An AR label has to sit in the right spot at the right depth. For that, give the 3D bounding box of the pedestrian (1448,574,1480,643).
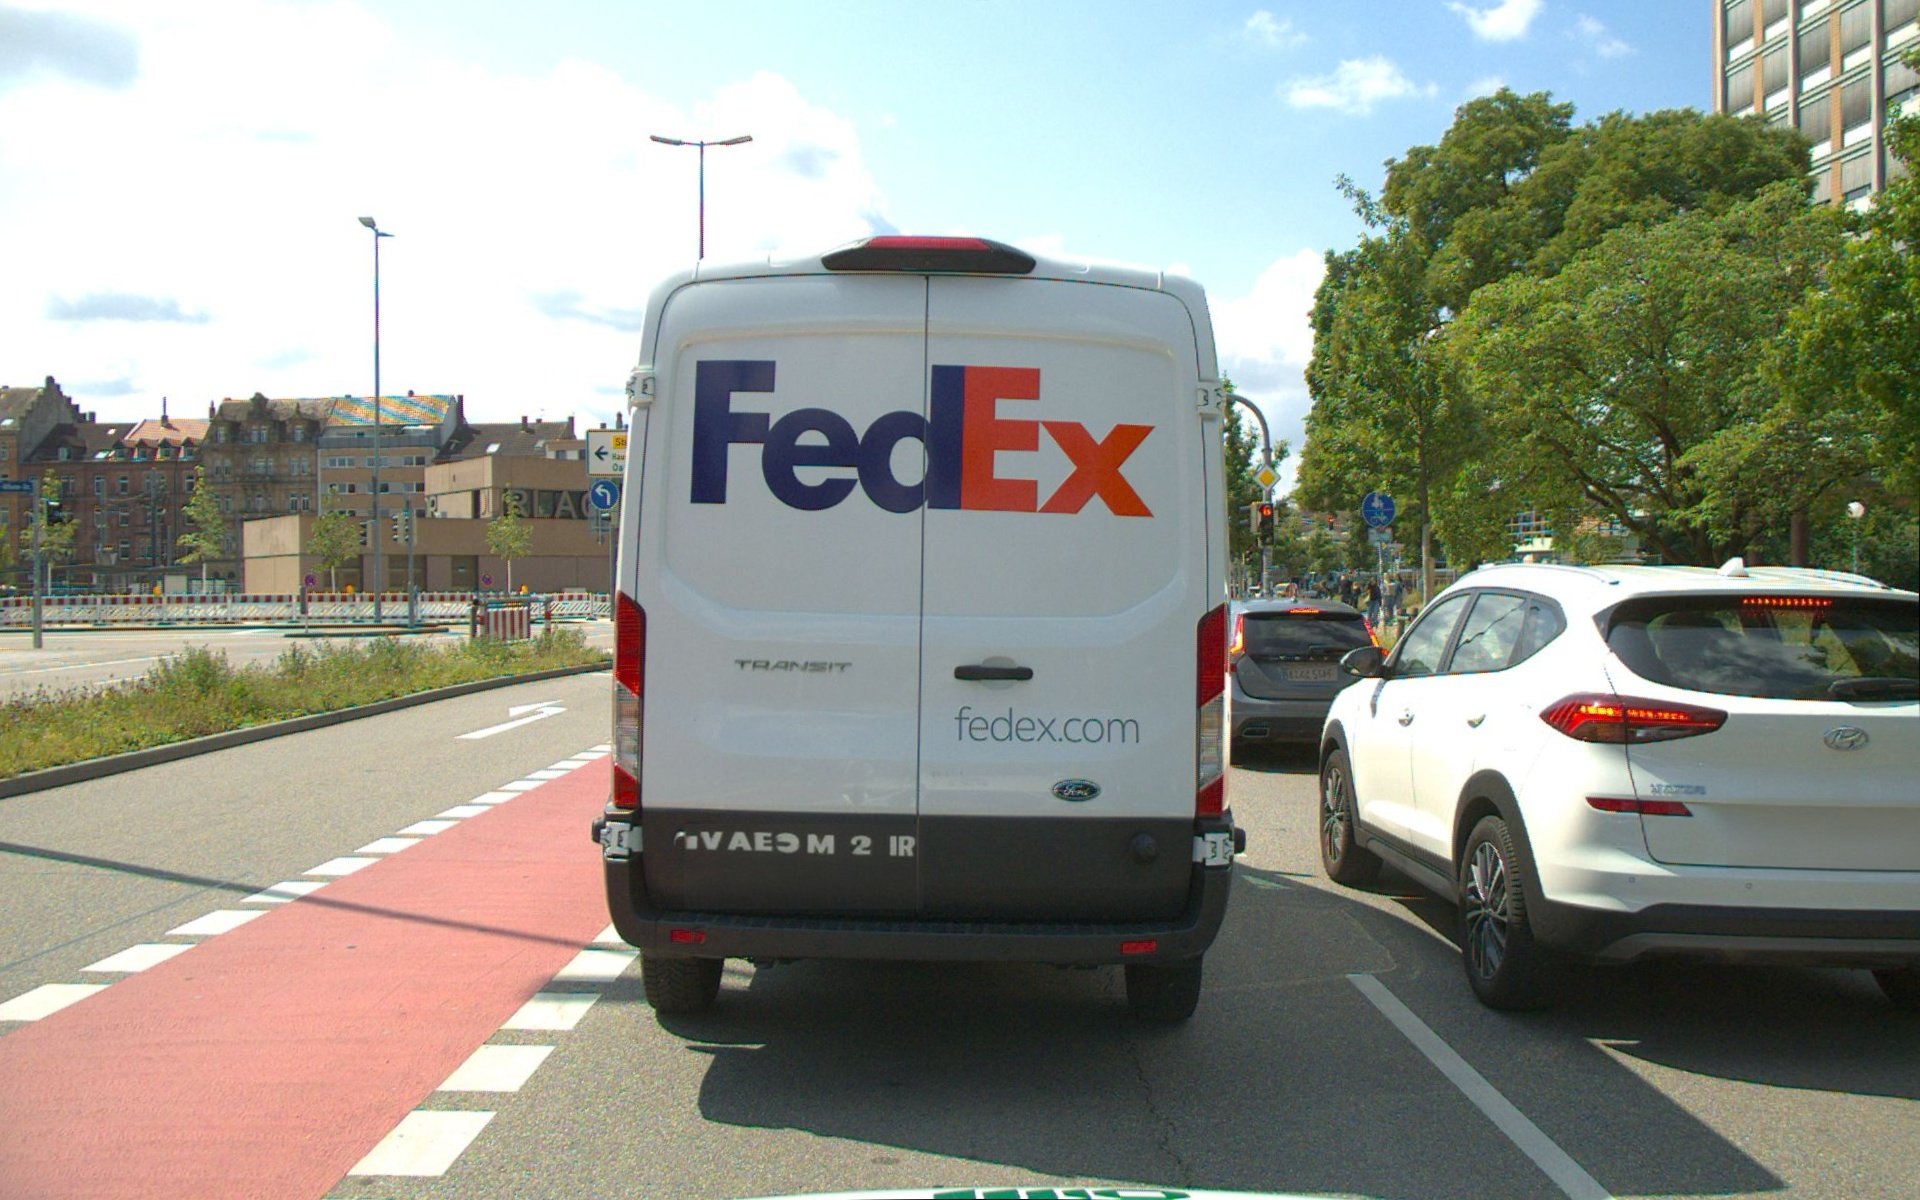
[{"bbox_3d":[13.975,0.229,45.823,0.743,1.882,0.816,0,0,25],"label":"pedestrian"}]

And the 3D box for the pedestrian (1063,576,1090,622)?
[{"bbox_3d":[4.738,-0.048,67.253,0.754,1.882,0.804,-1,1,-40],"label":"pedestrian"}]

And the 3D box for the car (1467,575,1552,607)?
[{"bbox_3d":[48.873,-0.784,147.108,6.939,2.765,2.488,1,0,-13],"label":"car"}]

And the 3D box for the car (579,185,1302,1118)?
[{"bbox_3d":[-0.025,0.122,6.892,2.030,2.626,4.428,0,1,1],"label":"car"}]

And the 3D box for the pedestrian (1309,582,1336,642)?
[{"bbox_3d":[11.476,0.365,52.344,0.743,1.882,0.816,0,0,18],"label":"pedestrian"}]

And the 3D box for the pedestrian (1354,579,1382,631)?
[{"bbox_3d":[13.195,0.158,53.511,0.743,1.684,0.816,0,0,3],"label":"pedestrian"}]

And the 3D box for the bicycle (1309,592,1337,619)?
[{"bbox_3d":[20.788,0.288,94.611,1.395,1.489,4.314,0,1,14],"label":"bicycle"}]

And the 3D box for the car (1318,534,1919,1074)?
[{"bbox_3d":[2.862,0.623,7.235,1.777,1.708,3.974,0,1,1],"label":"car"}]

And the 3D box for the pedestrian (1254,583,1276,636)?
[{"bbox_3d":[10.924,0.343,59.206,0.742,1.882,0.817,0,0,14],"label":"pedestrian"}]

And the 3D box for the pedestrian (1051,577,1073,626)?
[{"bbox_3d":[3.960,0.041,64.240,0.744,1.882,0.816,0,0,-3],"label":"pedestrian"}]

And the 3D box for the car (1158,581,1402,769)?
[{"bbox_3d":[2.931,0.613,15.851,1.656,1.576,3.721,0,1,1],"label":"car"}]

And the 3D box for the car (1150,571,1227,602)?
[{"bbox_3d":[21.254,-1.230,153.893,6.912,2.765,2.497,1,0,5],"label":"car"}]

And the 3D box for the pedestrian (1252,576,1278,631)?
[{"bbox_3d":[10.485,0.125,56.843,0.743,1.882,0.816,0,0,18],"label":"pedestrian"}]

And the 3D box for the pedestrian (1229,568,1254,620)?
[{"bbox_3d":[10.199,-0.210,60.018,0.796,1.882,0.761,0,0,2],"label":"pedestrian"}]

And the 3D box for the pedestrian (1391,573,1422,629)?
[{"bbox_3d":[15.185,0.043,56.242,0.745,1.882,0.814,0,0,-9],"label":"pedestrian"}]

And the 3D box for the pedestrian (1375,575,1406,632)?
[{"bbox_3d":[14.508,0.118,55.740,0.745,1.882,0.814,-1,0,-11],"label":"pedestrian"}]

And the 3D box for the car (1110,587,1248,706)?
[{"bbox_3d":[2.926,0.573,22.630,1.468,1.489,3.474,0,1,1],"label":"car"}]
